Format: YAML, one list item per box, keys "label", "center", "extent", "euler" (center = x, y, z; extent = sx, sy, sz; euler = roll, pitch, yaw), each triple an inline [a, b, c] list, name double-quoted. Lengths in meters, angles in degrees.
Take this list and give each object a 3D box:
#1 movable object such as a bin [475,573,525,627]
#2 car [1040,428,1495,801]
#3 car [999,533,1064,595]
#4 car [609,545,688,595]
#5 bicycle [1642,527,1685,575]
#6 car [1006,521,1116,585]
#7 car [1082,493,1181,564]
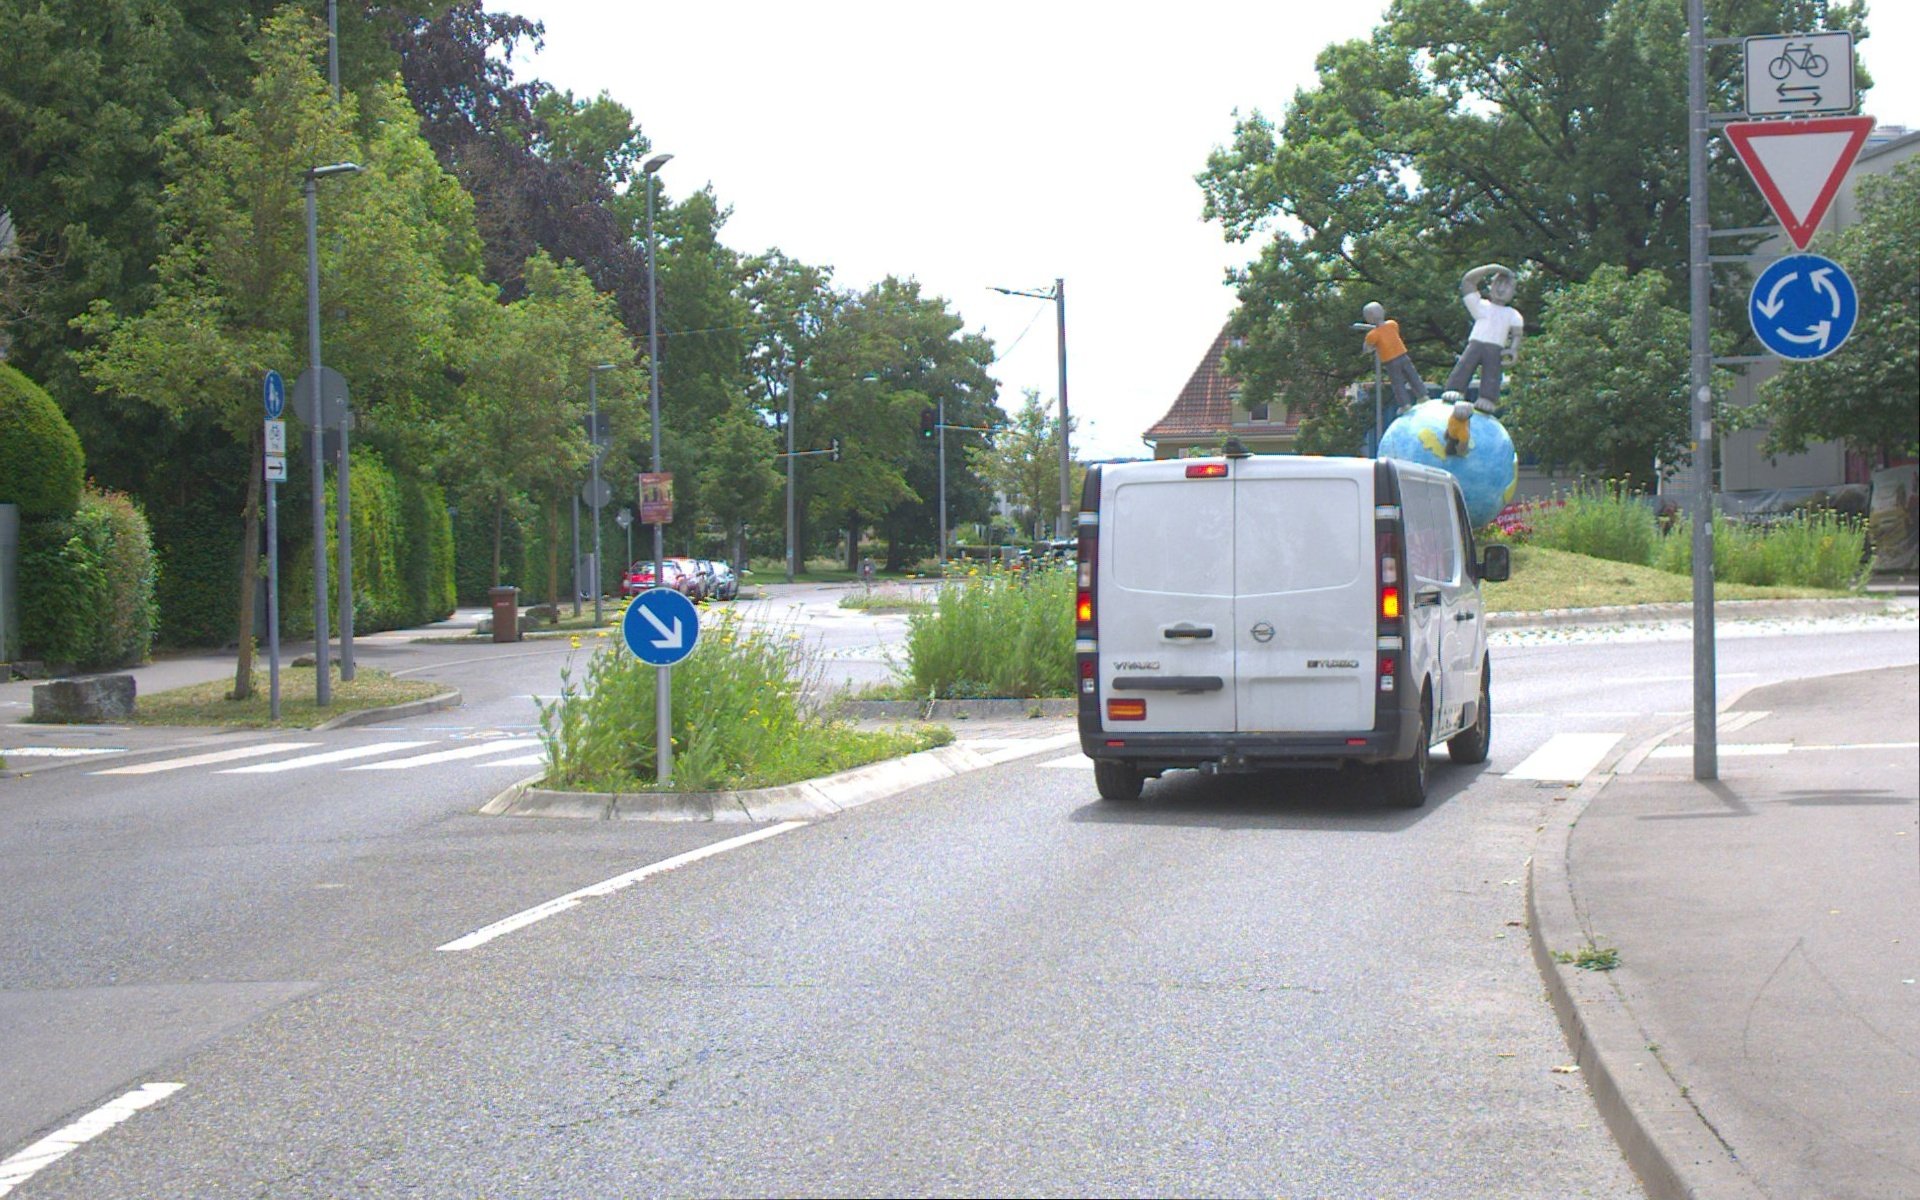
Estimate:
- label: "movable object such as a bin"
  center: [-7.658, -0.001, 57.283]
  extent: [0.630, 0.860, 0.640]
  euler: [-2, 1, 10]
- label: "car"
  center: [1.998, -0.001, 20.752]
  extent: [2.036, 1.938, 4.991]
  euler: [1, 2, 13]
- label: "car"
  center: [2.166, -1.115, 104.530]
  extent: [1.897, 1.738, 3.925]
  euler: [-1, 2, 1]
- label: "car"
  center: [-9.493, -0.933, 104.645]
  extent: [2.062, 1.381, 4.049]
  euler: [-1, 2, -10]
- label: "bicycle"
  center: [16.026, -1.115, 78.331]
  extent: [0.540, 1.046, 1.969]
  euler: [1, 2, 0]
- label: "car"
  center: [2.508, -1.194, 86.249]
  extent: [1.919, 1.495, 3.926]
  euler: [-1, 2, -11]
- label: "car"
  center: [3.900, -1.658, 78.671]
  extent: [1.932, 1.532, 3.926]
  euler: [-1, 2, -2]
